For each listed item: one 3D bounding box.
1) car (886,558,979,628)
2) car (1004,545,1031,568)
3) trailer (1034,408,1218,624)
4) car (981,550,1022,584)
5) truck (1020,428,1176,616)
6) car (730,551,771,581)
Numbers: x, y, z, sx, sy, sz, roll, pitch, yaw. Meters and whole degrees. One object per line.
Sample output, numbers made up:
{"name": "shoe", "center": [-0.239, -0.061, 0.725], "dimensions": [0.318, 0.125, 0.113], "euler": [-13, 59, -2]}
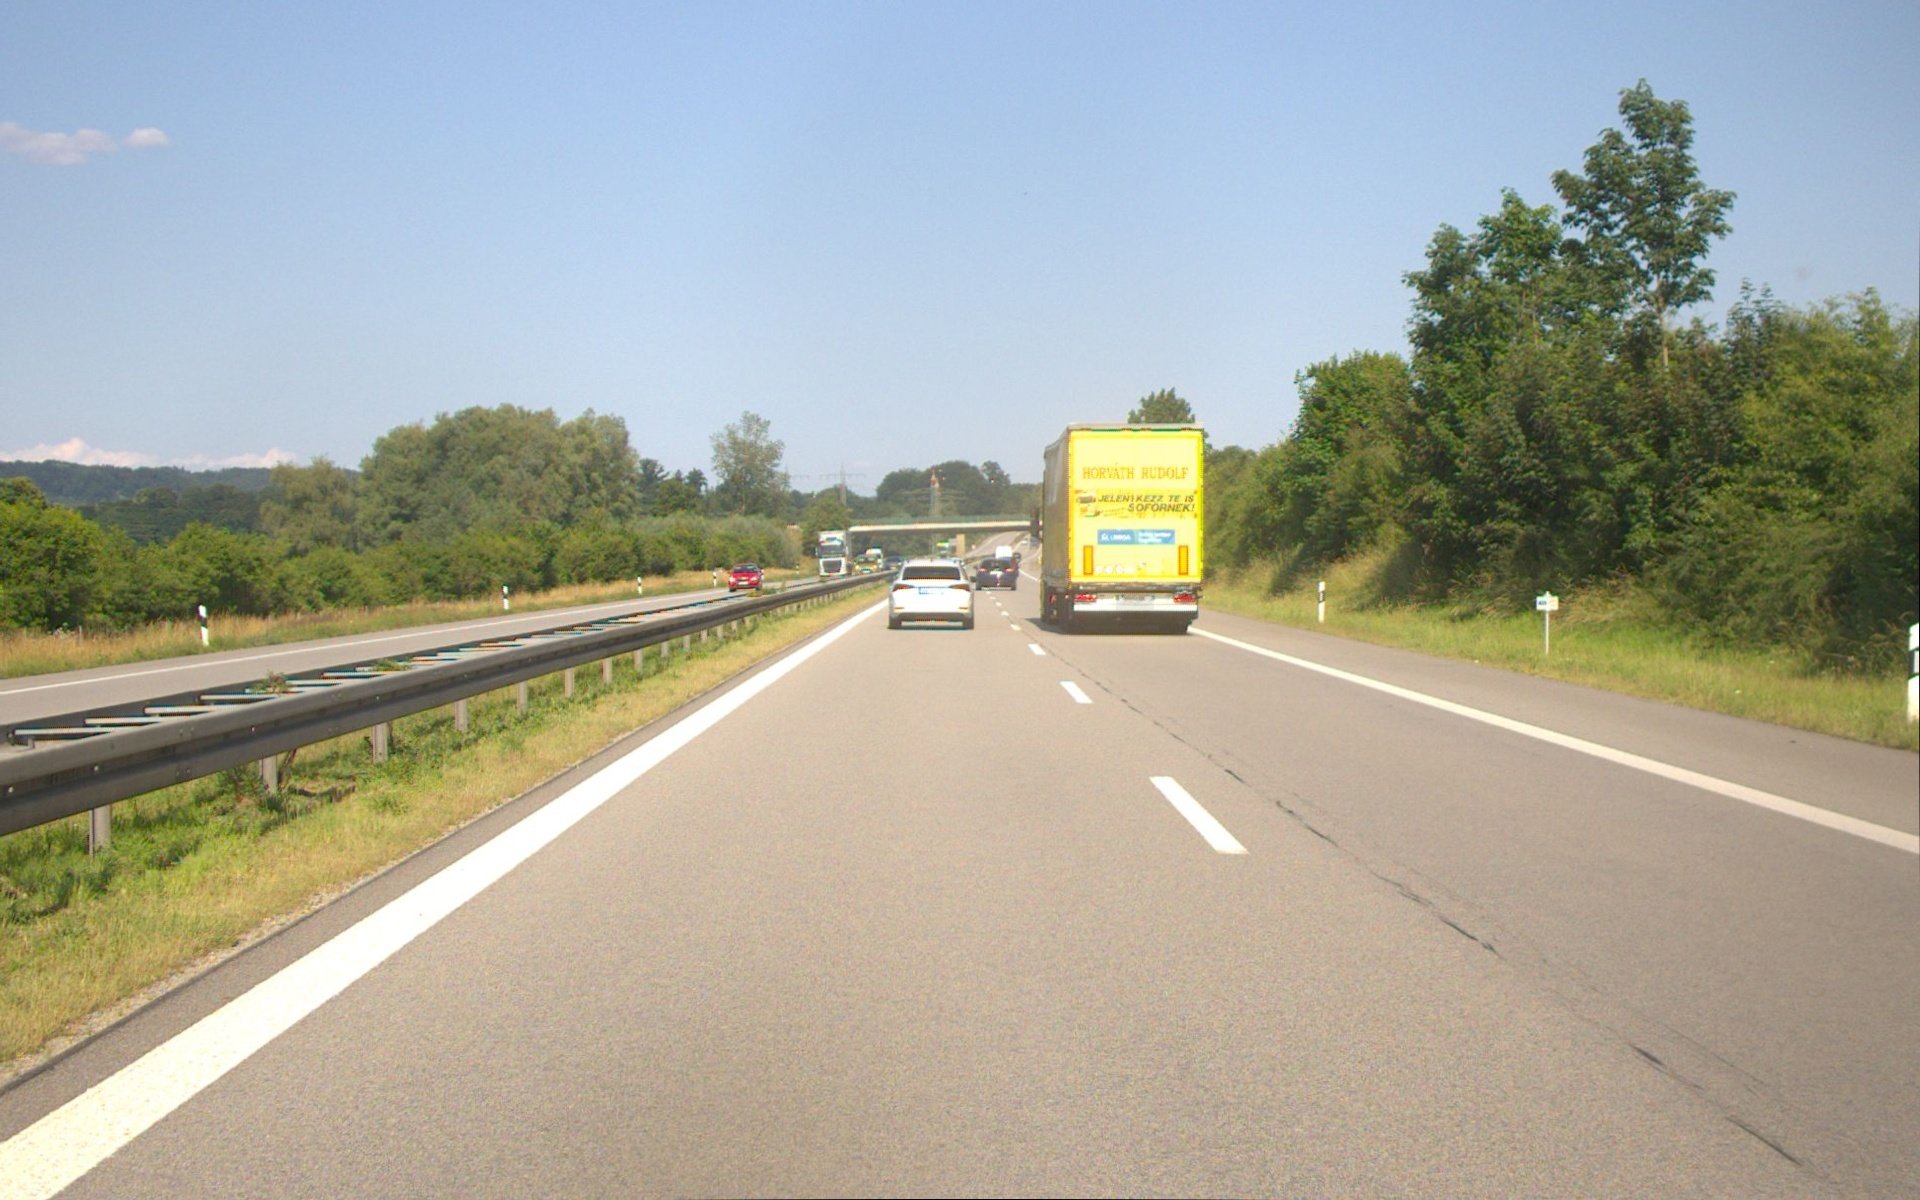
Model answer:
{"name": "car", "center": [-0.547, -0.172, 72.146], "dimensions": [1.843, 1.411, 4.000], "euler": [1, 1, 1]}
{"name": "car", "center": [4.342, -3.272, 260.354], "dimensions": [1.902, 1.677, 4.731], "euler": [2, 1, 0]}
{"name": "trailer", "center": [3.271, -1.662, 71.520], "dimensions": [3.184, 4.045, 13.187], "euler": [1, 1, 0]}
{"name": "car", "center": [1.899, -1.504, 156.480], "dimensions": [1.843, 1.515, 4.000], "euler": [1, 1, 1]}
{"name": "truck", "center": [3.087, -1.745, 78.529], "dimensions": [3.168, 4.100, 6.389], "euler": [1, 1, -1]}
{"name": "car", "center": [-11.184, -1.839, 183.752], "dimensions": [1.730, 1.506, 4.479], "euler": [-3, 1, 1]}
